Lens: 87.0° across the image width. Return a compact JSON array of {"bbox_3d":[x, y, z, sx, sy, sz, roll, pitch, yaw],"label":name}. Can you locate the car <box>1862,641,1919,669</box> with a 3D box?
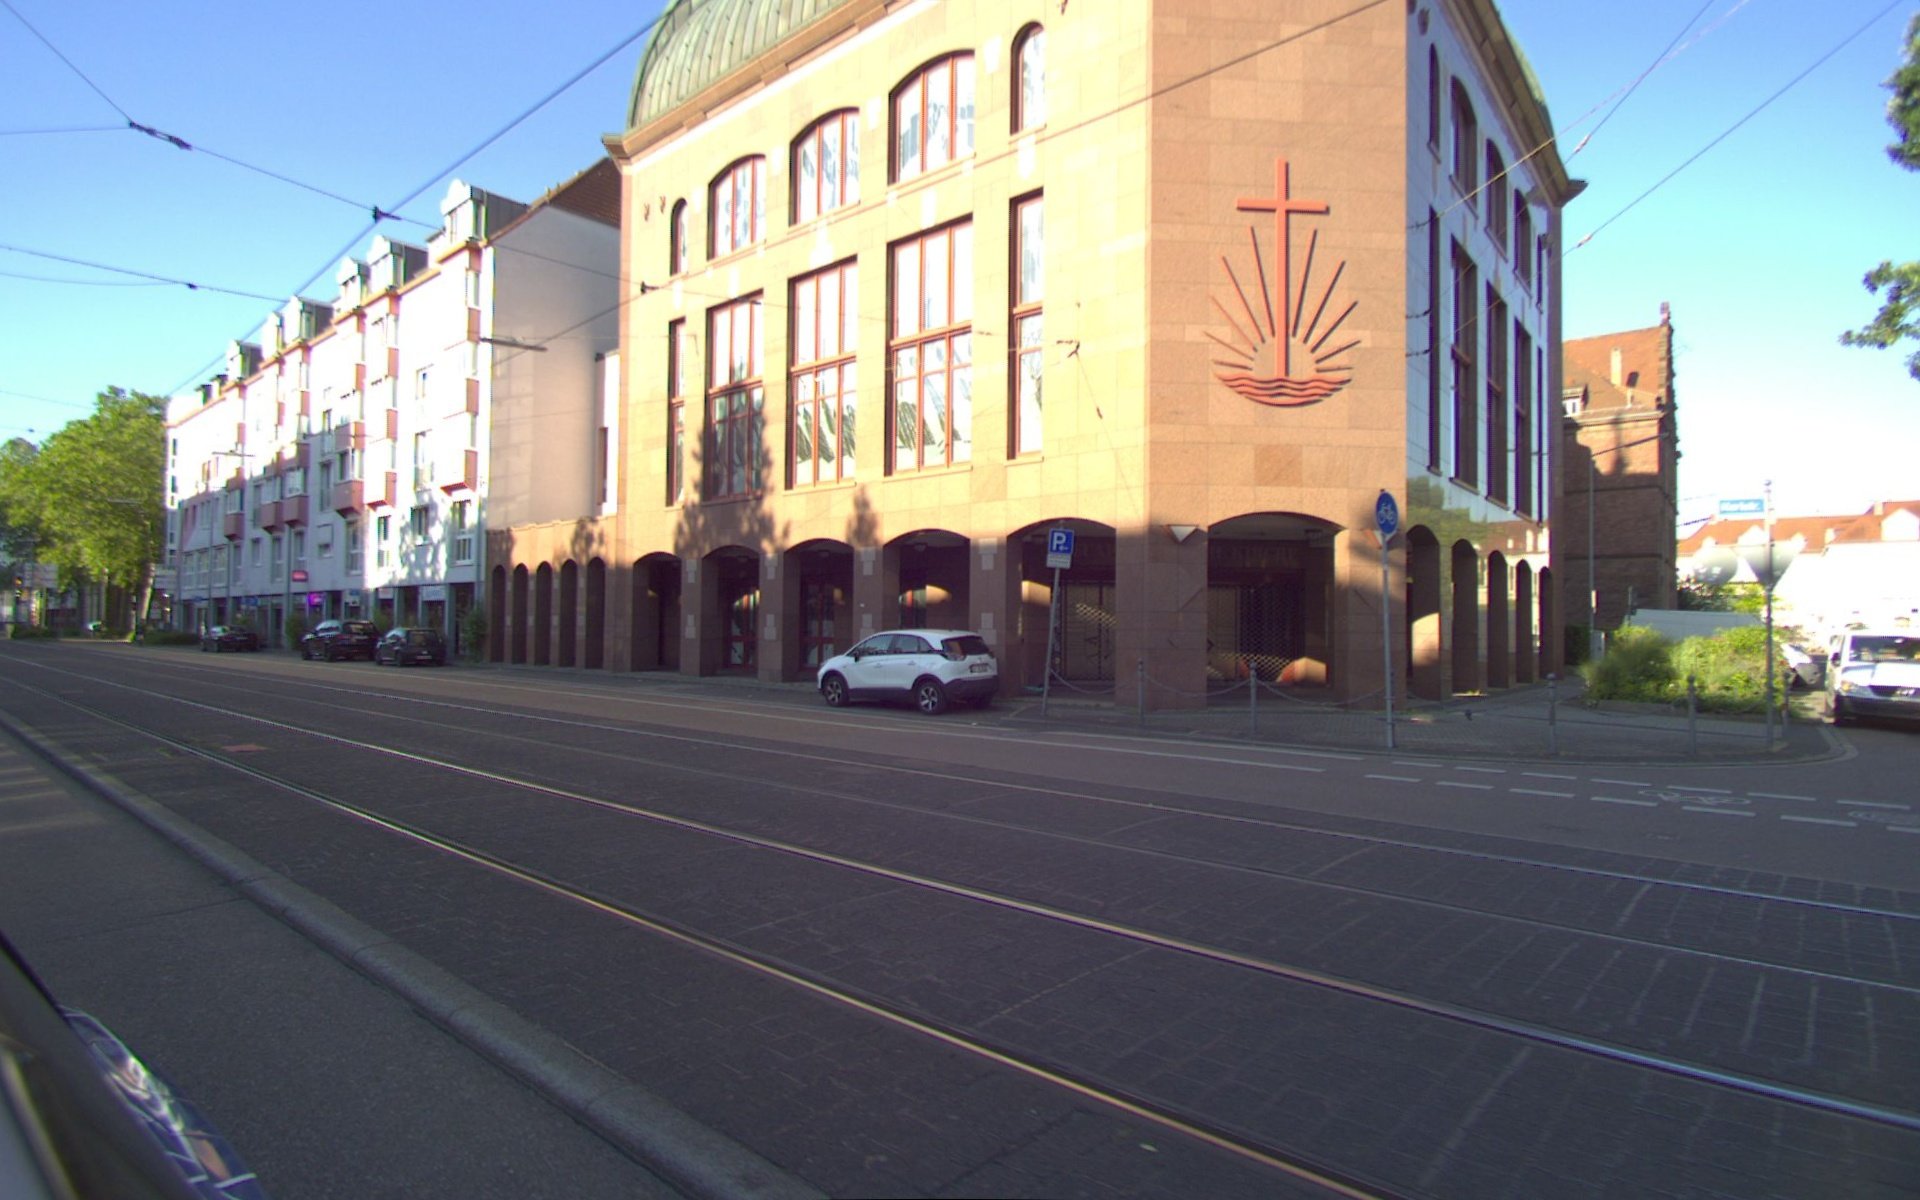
[{"bbox_3d":[91.530,5.259,97.451,6.735,2.638,2.542,-2,-4,38],"label":"car"}]

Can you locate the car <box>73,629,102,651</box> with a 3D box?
[{"bbox_3d":[-68.984,3.186,79.989,2.882,1.686,1.365,-2,-4,42],"label":"car"}]

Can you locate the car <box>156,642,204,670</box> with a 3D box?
[{"bbox_3d":[-51.413,3.670,66.681,1.904,1.811,4.386,3,-4,-45],"label":"car"}]

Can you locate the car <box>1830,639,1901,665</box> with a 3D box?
[{"bbox_3d":[105.546,6.071,118.106,6.044,2.865,2.540,0,-3,39],"label":"car"}]

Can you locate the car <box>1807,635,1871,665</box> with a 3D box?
[{"bbox_3d":[105.503,5.997,121.580,5.626,3.381,2.403,0,-3,39],"label":"car"}]

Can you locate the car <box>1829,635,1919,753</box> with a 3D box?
[{"bbox_3d":[18.267,1.747,19.518,2.131,1.982,4.928,2,-1,40],"label":"car"}]

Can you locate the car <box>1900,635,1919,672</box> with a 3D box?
[{"bbox_3d":[70.636,3.871,72.065,5.292,2.638,2.115,0,-3,39],"label":"car"}]

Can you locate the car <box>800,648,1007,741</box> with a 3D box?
[{"bbox_3d":[-1.229,1.814,20.484,4.274,1.602,1.579,-2,-1,40],"label":"car"}]

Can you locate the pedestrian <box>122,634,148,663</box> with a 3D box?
[{"bbox_3d":[-51.014,3.007,62.558,1.080,1.792,1.254,4,-4,-43],"label":"pedestrian"}]

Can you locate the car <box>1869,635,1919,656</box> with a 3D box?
[{"bbox_3d":[95.994,4.629,103.484,4.317,2.029,1.973,-1,-3,40],"label":"car"}]

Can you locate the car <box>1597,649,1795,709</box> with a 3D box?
[{"bbox_3d":[21.353,2.241,29.542,4.524,1.585,1.832,-2,-3,38],"label":"car"}]

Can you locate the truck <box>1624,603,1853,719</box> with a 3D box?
[{"bbox_3d":[20.064,1.536,26.304,4.524,2.784,1.832,-2,-3,38],"label":"truck"}]

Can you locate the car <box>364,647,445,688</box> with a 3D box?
[{"bbox_3d":[-21.153,2.529,38.491,3.683,1.411,1.624,-2,-2,43],"label":"car"}]

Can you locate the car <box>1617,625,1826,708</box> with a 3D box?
[{"bbox_3d":[25.303,2.158,33.818,5.409,2.562,1.832,-2,-3,40],"label":"car"}]

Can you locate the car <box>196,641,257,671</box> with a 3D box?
[{"bbox_3d":[-40.299,3.035,55.537,4.560,1.520,1.805,-2,-2,42],"label":"car"}]

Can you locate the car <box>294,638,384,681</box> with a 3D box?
[{"bbox_3d":[-26.277,2.464,42.770,4.557,1.713,1.939,-2,-2,40],"label":"car"}]

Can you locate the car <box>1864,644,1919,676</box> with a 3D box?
[{"bbox_3d":[81.235,5.106,85.525,6.960,2.638,2.542,-2,-4,38],"label":"car"}]
